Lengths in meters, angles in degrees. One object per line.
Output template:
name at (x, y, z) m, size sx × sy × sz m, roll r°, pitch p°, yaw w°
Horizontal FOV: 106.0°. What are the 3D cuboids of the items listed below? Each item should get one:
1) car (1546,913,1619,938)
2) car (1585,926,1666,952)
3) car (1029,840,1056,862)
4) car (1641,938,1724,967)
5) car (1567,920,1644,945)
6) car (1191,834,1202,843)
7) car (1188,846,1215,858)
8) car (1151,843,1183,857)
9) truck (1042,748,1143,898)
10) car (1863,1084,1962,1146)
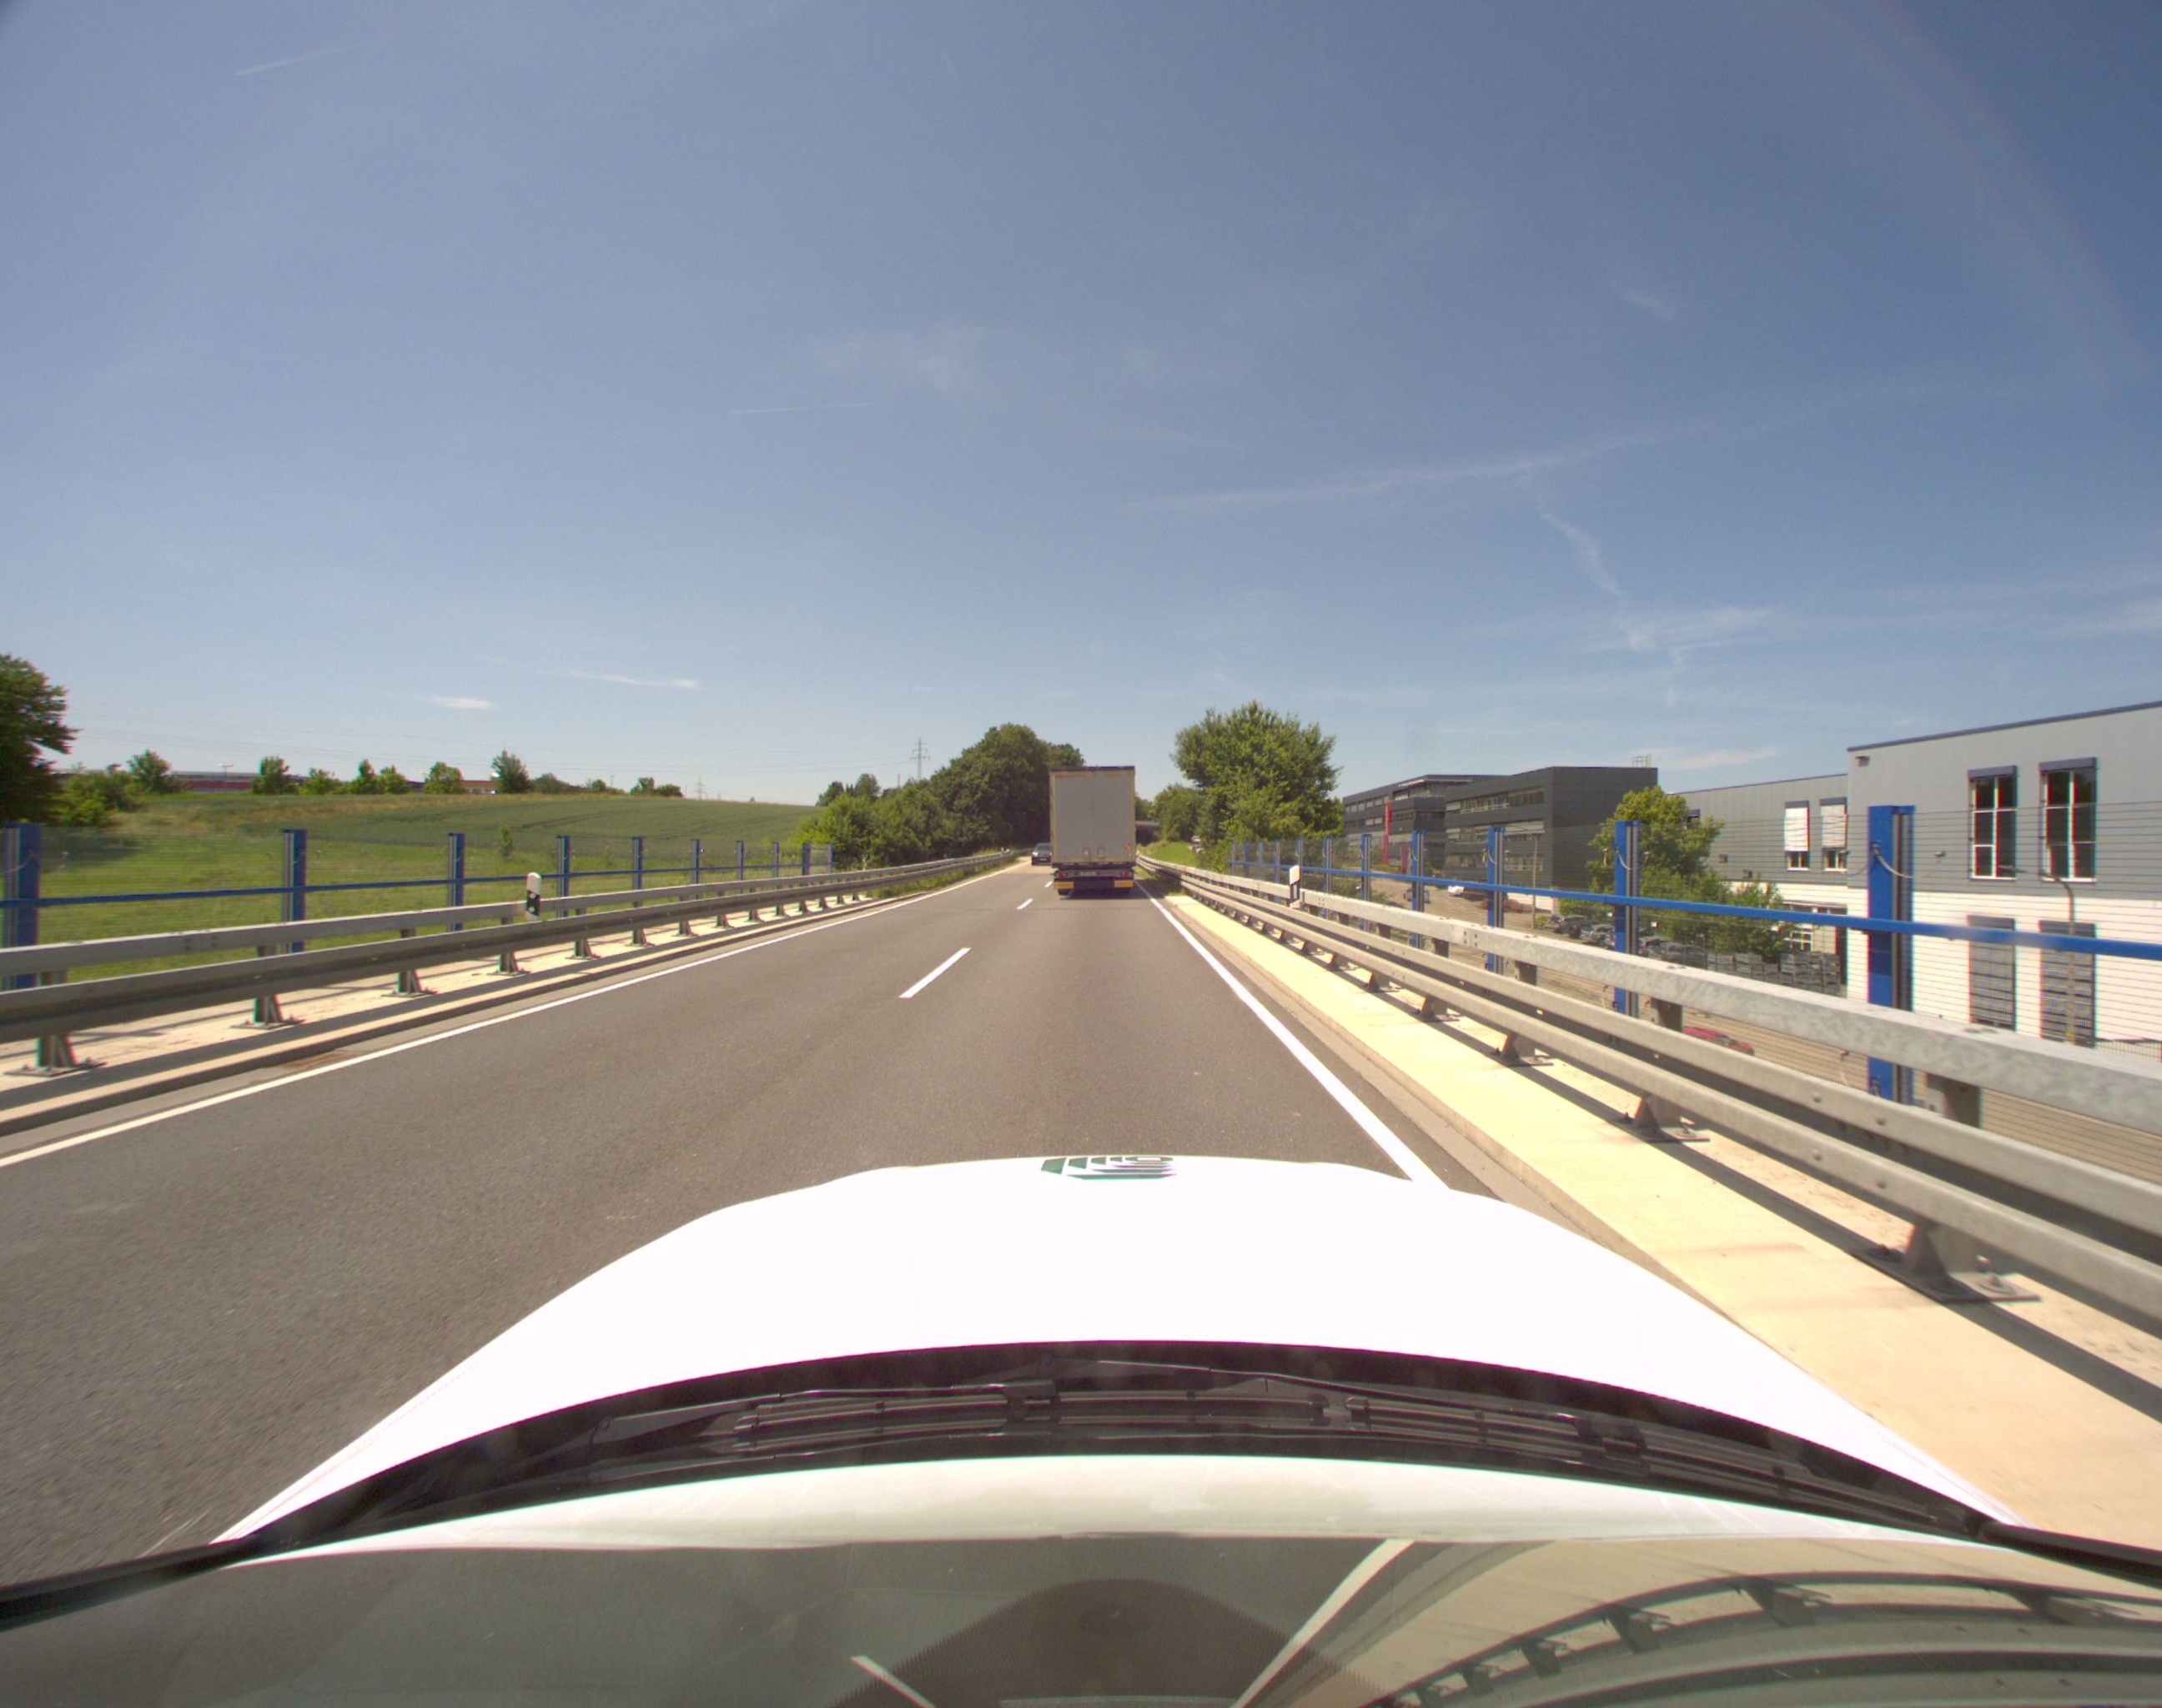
car at (39.264, 5.606, 63.877) m, size 4.556 × 1.571 × 1.821 m, roll 2°, pitch 4°, yaw 0°
car at (39.072, 6.073, 58.532) m, size 4.556 × 1.571 × 1.821 m, roll 0°, pitch 4°, yaw 0°
car at (-2.847, -0.226, 61.264) m, size 1.859 × 1.611 × 4.372 m, roll 0°, pitch 1°, yaw 0°
car at (39.208, 6.424, 53.157) m, size 4.024 × 1.571 × 1.913 m, roll 0°, pitch 4°, yaw 0°
car at (39.186, 5.879, 60.937) m, size 4.556 × 1.571 × 1.821 m, roll 0°, pitch 4°, yaw 0°
car at (23.660, -3.215, 166.826) m, size 1.619 × 1.353 × 3.712 m, roll 6°, pitch 4°, yaw 0°
car at (20.574, -0.302, 139.150) m, size 4.393 × 1.684 × 1.870 m, roll 3°, pitch 5°, yaw -34°
car at (12.823, -0.606, 120.785) m, size 4.393 × 1.684 × 1.870 m, roll 3°, pitch 5°, yaw -34°
truck at (0.449, -1.056, 28.974) m, size 2.856 × 4.358 × 9.793 m, roll 2°, pitch 2°, yaw 1°
car at (26.062, 8.109, 25.498) m, size 3.695 × 1.148 × 1.496 m, roll 7°, pitch 0°, yaw -35°
